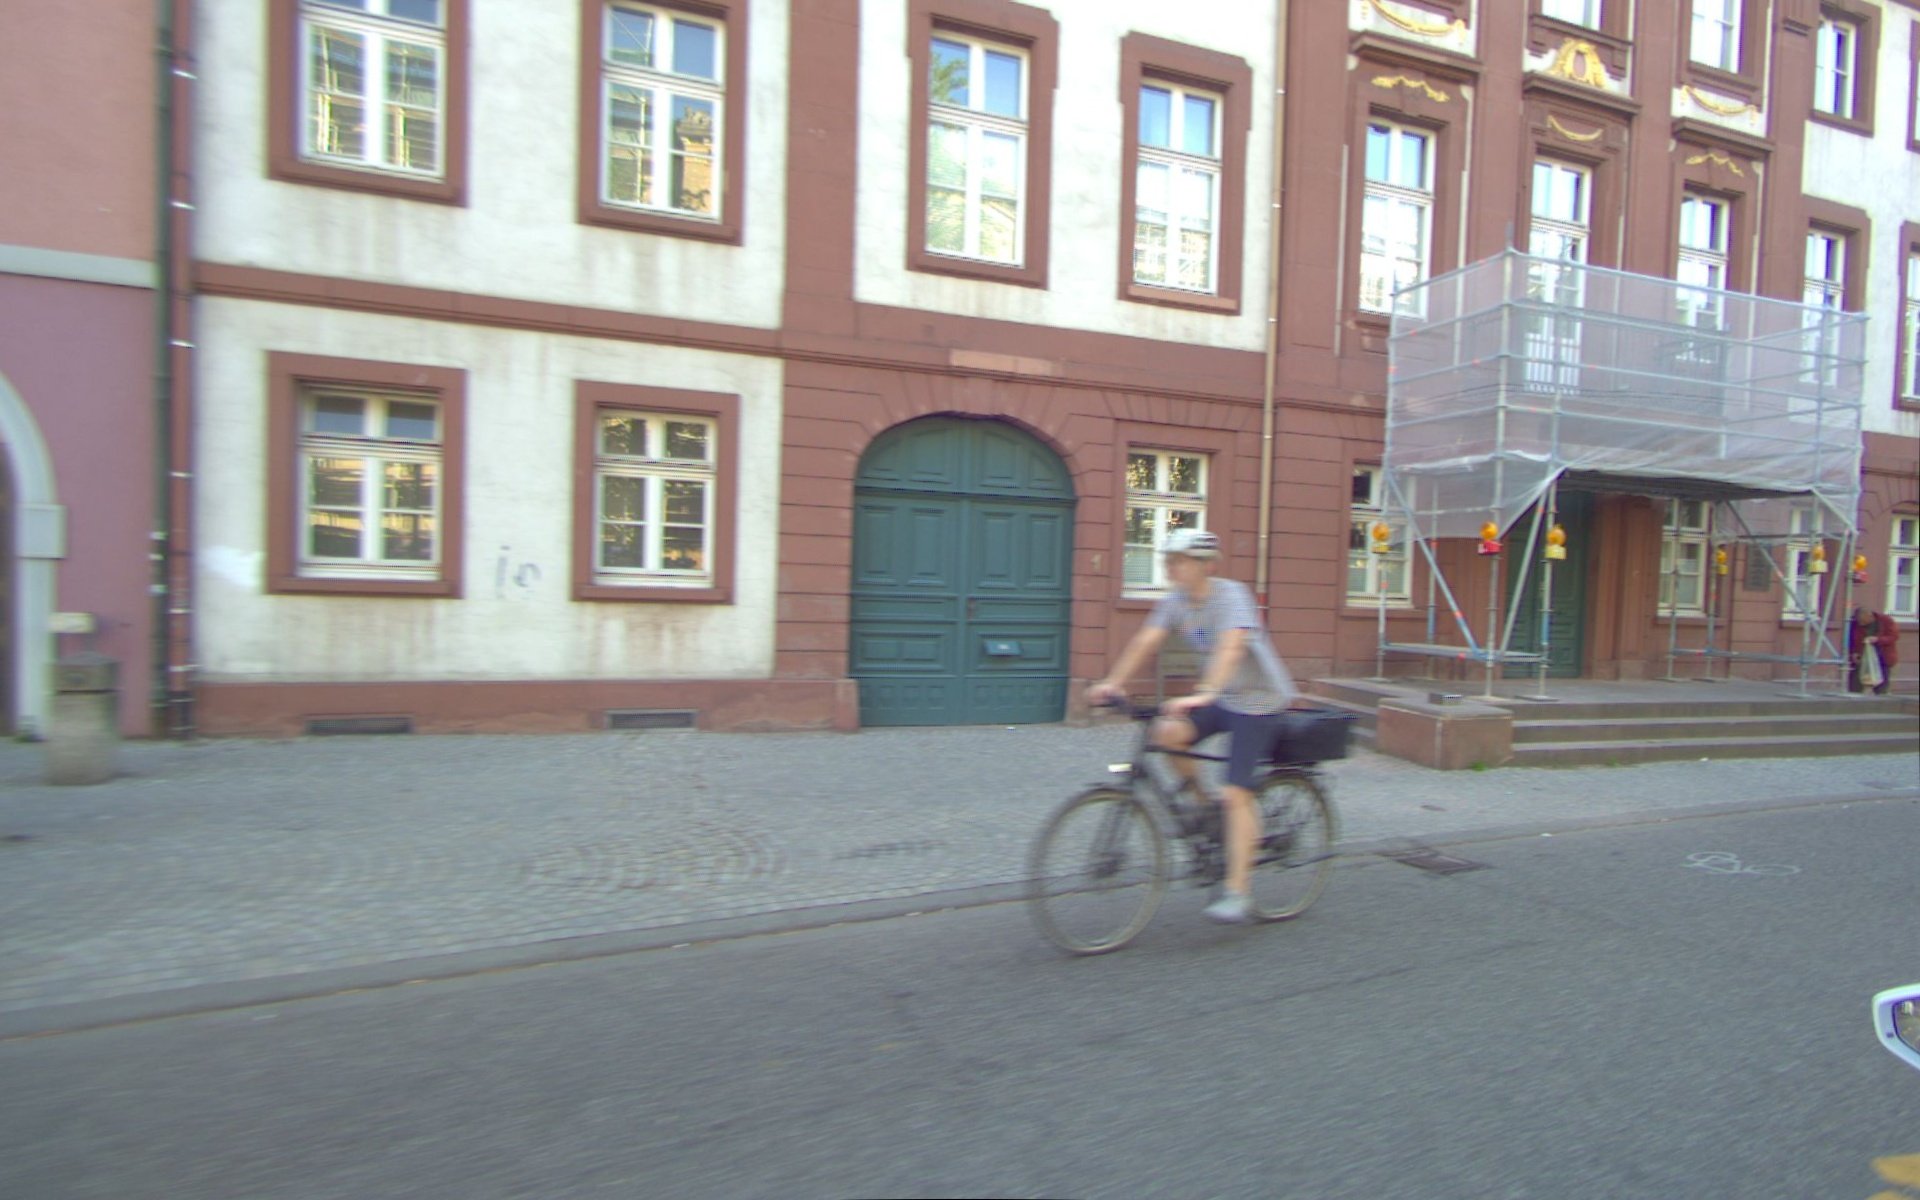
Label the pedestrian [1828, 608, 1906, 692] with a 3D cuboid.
[{"bbox_3d":[12.004,0.653,13.300,0.543,1.067,0.535,1,2,-22],"label":"pedestrian"}]

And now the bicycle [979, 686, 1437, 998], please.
[{"bbox_3d":[1.179,0.999,4.666,2.051,1.077,0.768,1,1,-27],"label":"bicycle"}]

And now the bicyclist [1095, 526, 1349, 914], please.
[{"bbox_3d":[1.189,0.488,4.644,0.785,1.605,0.741,1,2,-27],"label":"bicyclist"}]
